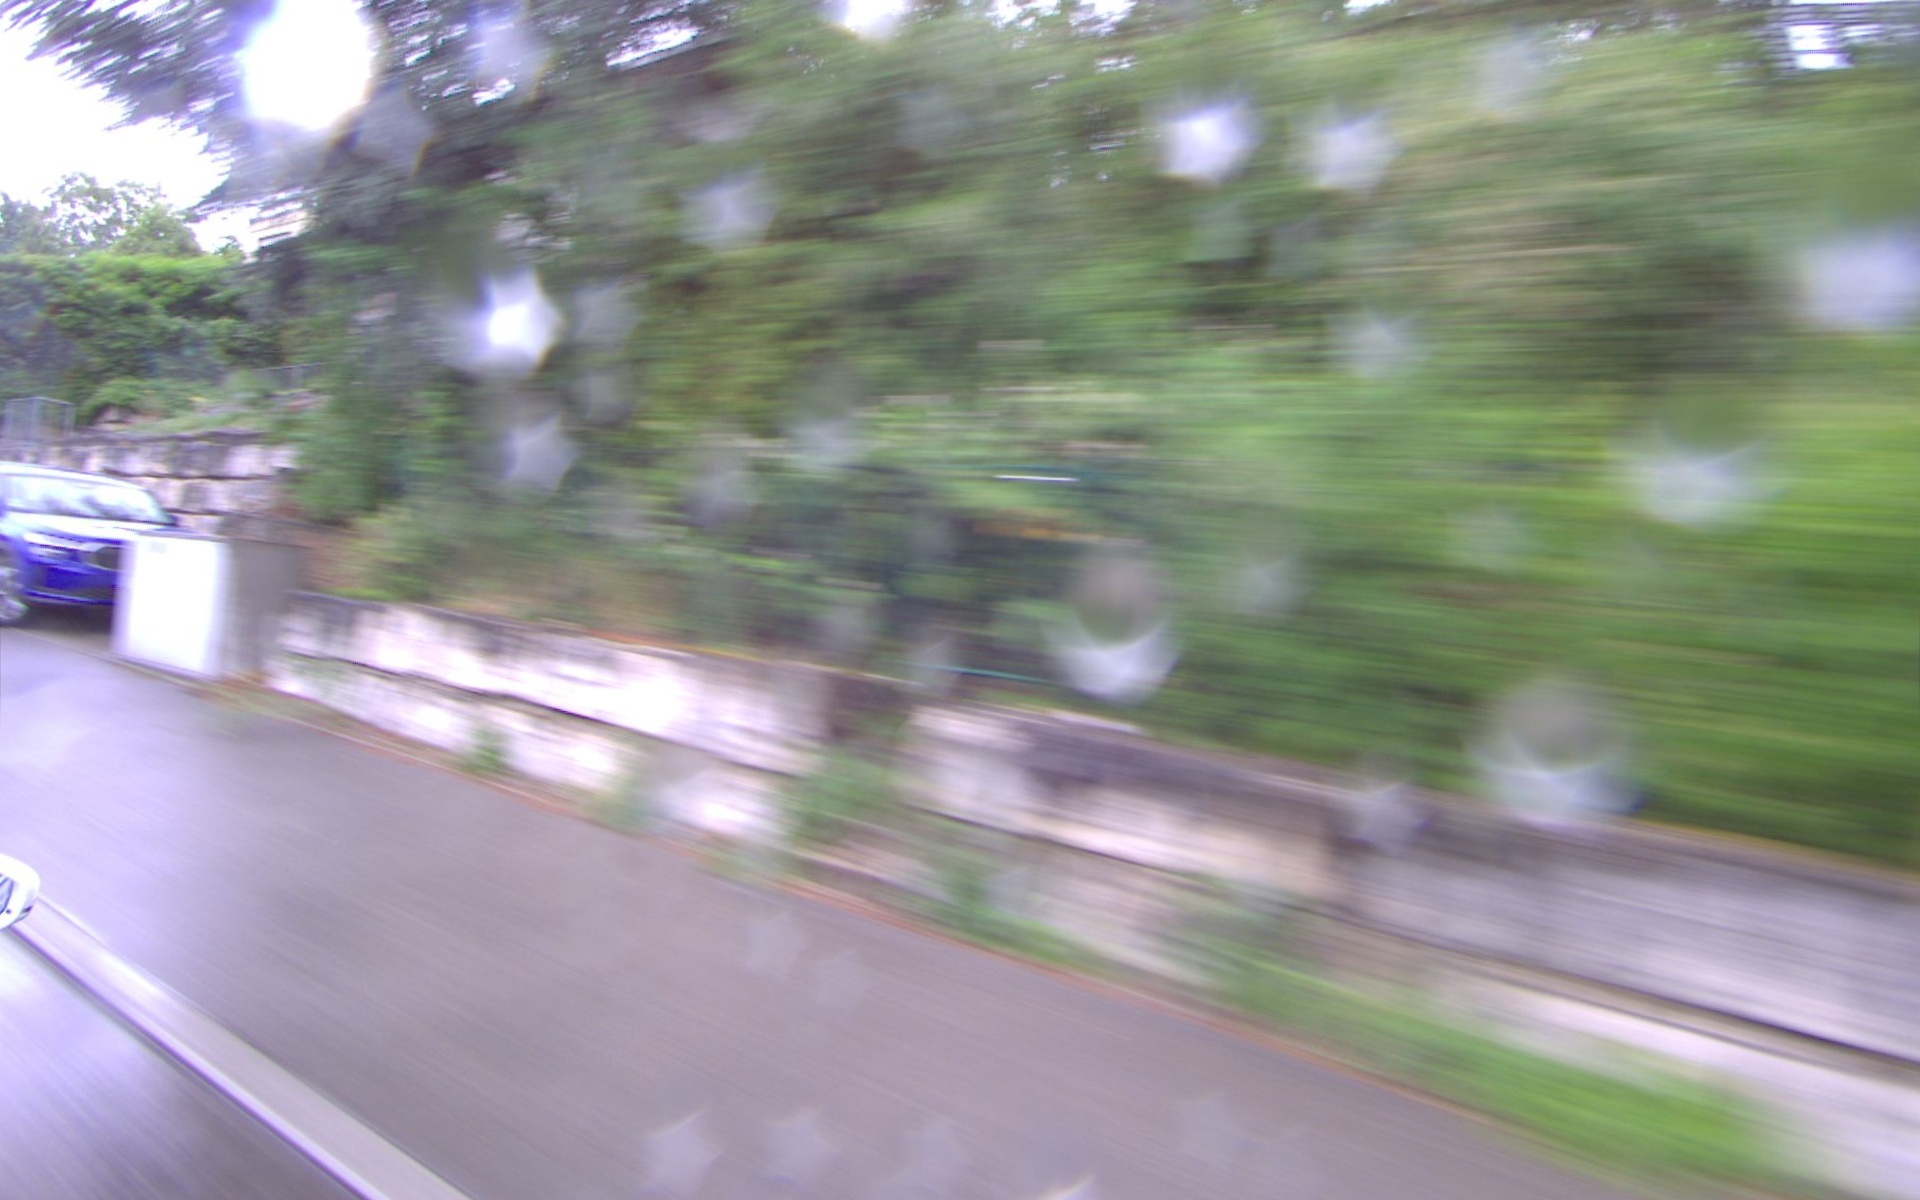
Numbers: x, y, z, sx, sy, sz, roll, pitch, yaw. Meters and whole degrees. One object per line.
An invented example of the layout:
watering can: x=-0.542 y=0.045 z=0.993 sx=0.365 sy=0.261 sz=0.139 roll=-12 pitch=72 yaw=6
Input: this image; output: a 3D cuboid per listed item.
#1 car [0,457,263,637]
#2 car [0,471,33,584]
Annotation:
car: x=-10.279 y=-0.678 z=11.479 sx=4.466 sy=1.692 sz=1.995 roll=7 pitch=2 yaw=29
car: x=-15.509 y=-1.237 z=14.728 sx=3.943 sy=1.584 sz=1.811 roll=7 pitch=2 yaw=31
